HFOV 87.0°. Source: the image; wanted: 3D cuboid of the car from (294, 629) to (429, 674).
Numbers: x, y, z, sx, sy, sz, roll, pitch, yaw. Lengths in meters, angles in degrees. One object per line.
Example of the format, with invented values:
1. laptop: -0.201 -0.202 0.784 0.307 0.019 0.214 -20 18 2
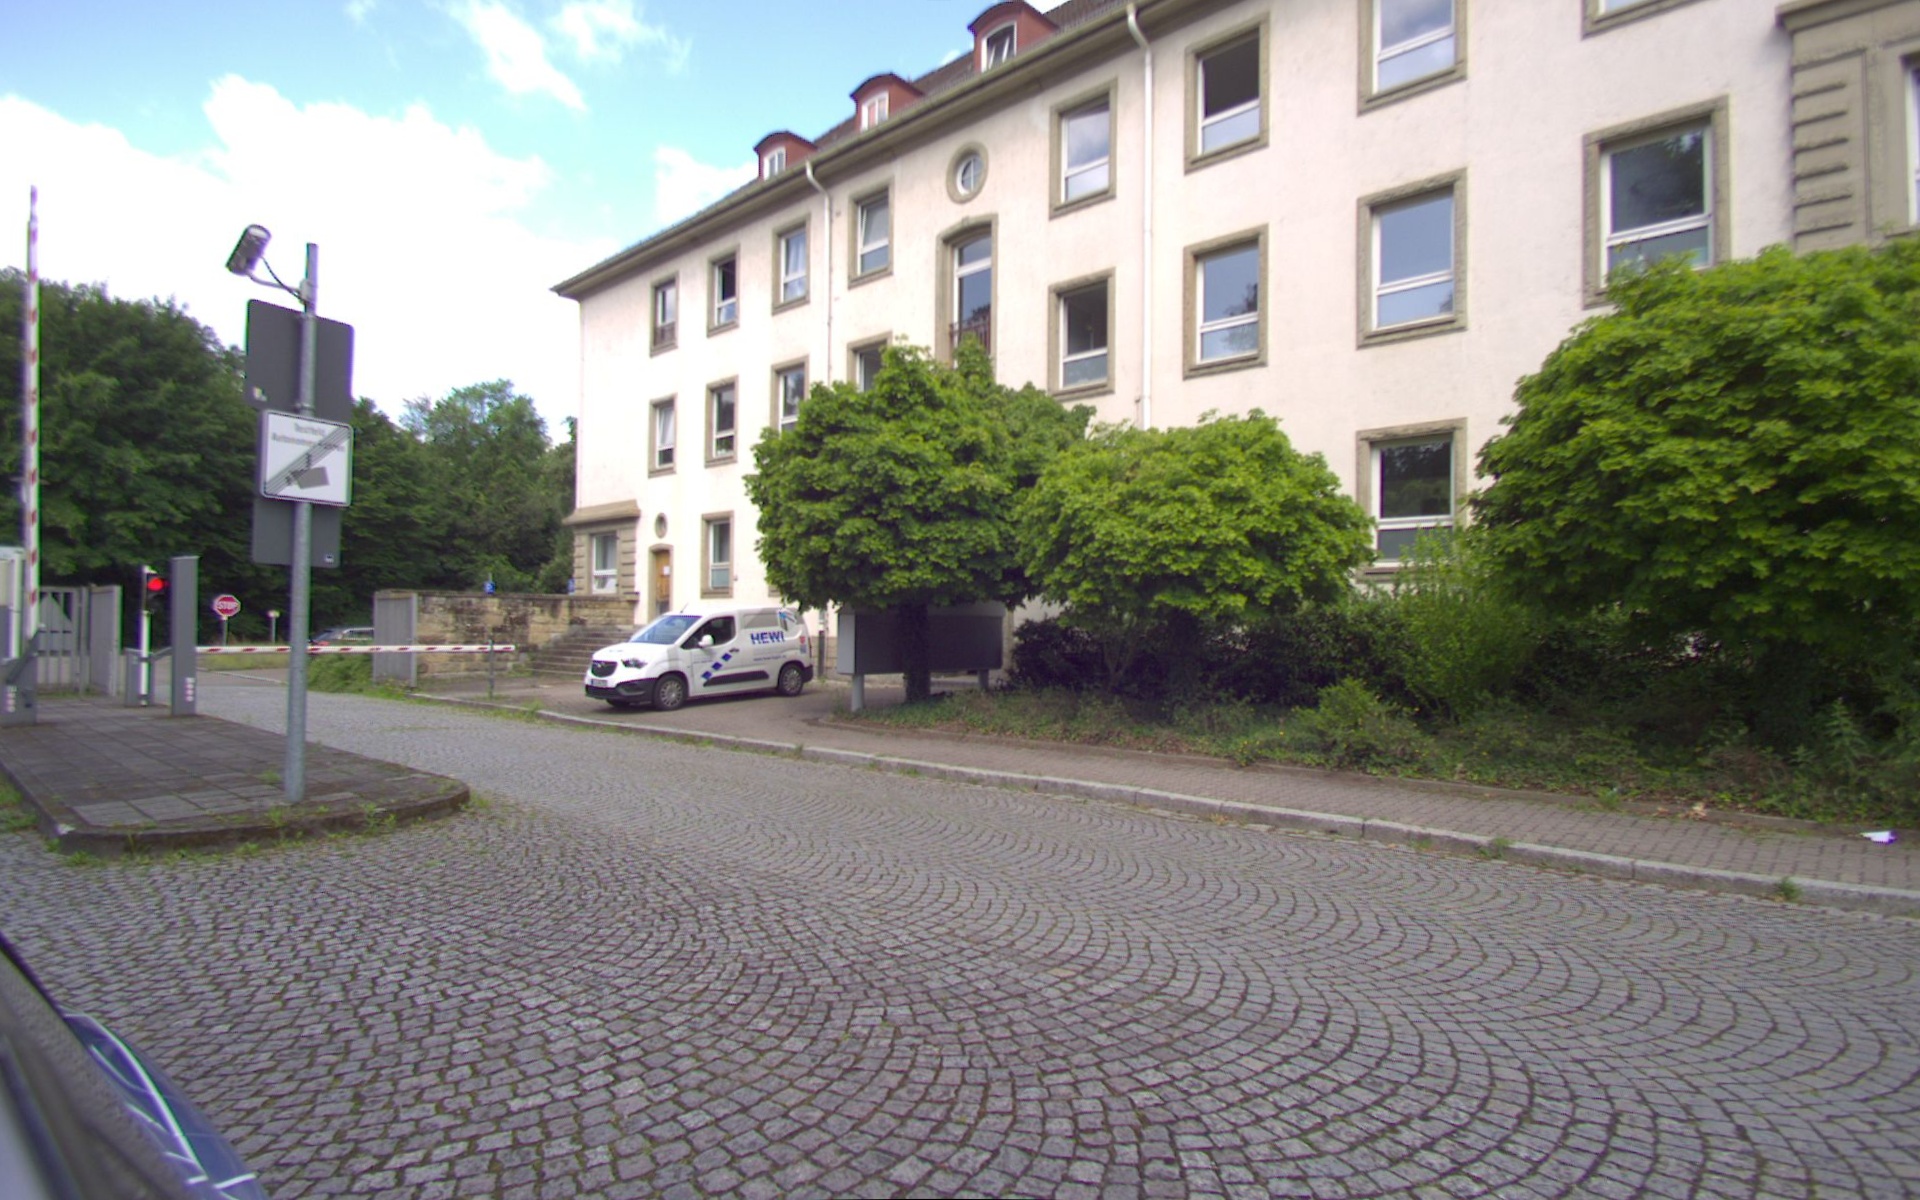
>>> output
1. car: -21.663 1.835 36.708 3.938 1.529 1.804 1 -2 -42

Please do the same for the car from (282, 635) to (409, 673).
1. car: -23.789 2.073 39.255 3.938 1.356 1.804 1 -2 -42

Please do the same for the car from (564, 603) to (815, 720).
1. car: -4.924 1.034 18.920 1.819 1.819 4.258 -1 1 40
